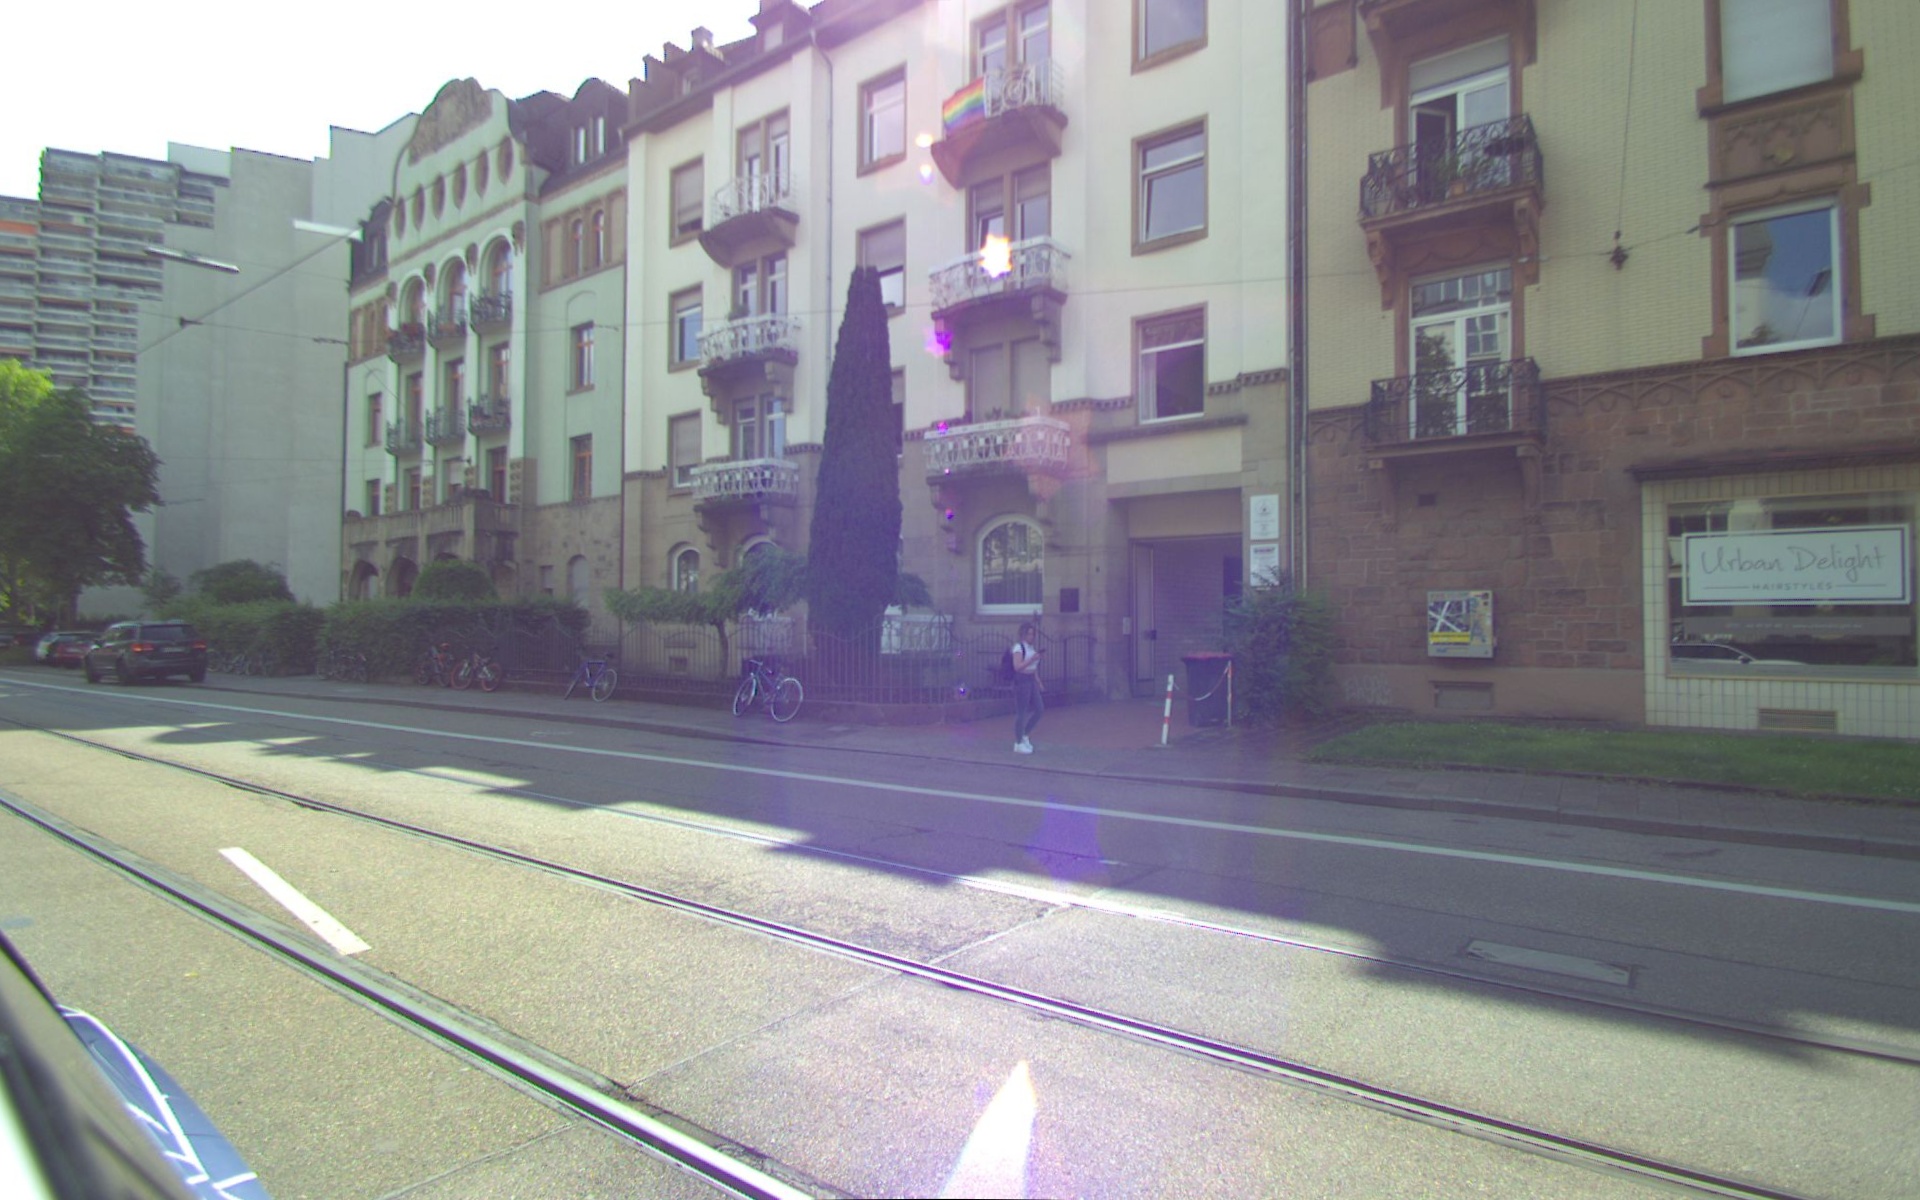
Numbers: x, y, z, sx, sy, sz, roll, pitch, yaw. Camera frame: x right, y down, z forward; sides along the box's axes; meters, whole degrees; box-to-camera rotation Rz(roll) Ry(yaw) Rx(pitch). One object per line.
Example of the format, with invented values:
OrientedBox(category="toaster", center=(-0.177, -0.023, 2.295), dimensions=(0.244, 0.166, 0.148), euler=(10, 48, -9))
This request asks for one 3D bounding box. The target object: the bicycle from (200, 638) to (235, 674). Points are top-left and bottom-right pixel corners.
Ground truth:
OrientedBox(category="bicycle", center=(-24.157, 1.818, 32.923), dimensions=(1.785, 1.144, 0.462), euler=(-2, -3, 40))

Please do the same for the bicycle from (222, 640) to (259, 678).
OrientedBox(category="bicycle", center=(-22.502, 1.822, 31.634), dimensions=(1.785, 1.144, 0.462), euler=(-2, -3, 40))

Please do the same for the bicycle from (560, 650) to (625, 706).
OrientedBox(category="bicycle", center=(-7.130, 1.487, 19.608), dimensions=(0.461, 1.003, 1.788), euler=(2, -3, -45))

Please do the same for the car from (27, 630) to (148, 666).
OrientedBox(category="car", center=(-38.667, 2.118, 44.922), dimensions=(3.938, 1.519, 2.002), euler=(2, -3, -42))

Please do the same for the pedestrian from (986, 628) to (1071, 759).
OrientedBox(category="pedestrian", center=(0.855, 1.130, 12.596), dimensions=(0.764, 1.553, 0.749), euler=(-2, -3, 39))

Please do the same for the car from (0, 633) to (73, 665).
OrientedBox(category="car", center=(-46.437, 2.391, 49.960), dimensions=(3.938, 1.519, 2.002), euler=(2, -3, -42))

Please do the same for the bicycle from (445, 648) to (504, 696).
OrientedBox(category="bicycle", center=(-10.718, 1.561, 22.302), dimensions=(1.785, 1.003, 0.462), euler=(-2, -3, 40))

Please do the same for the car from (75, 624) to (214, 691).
OrientedBox(category="car", center=(-22.711, 1.544, 28.155), dimensions=(4.392, 1.708, 1.899), euler=(-1, -2, 36))

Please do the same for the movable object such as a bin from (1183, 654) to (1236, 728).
OrientedBox(category="movable object such as a bin", center=(3.582, 1.297, 14.559), dimensions=(0.697, 1.037, 0.475), euler=(0, -2, 11))

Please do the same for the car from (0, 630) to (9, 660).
OrientedBox(category="car", center=(-56.904, 2.563, 57.636), dimensions=(3.938, 1.695, 2.002), euler=(2, -3, -42))

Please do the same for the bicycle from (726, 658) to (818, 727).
OrientedBox(category="bicycle", center=(-3.057, 1.455, 16.308), dimensions=(0.461, 1.003, 1.980), euler=(2, -3, -43))

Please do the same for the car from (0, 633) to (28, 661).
OrientedBox(category="car", center=(-54.003, 2.585, 55.691), dimensions=(3.938, 1.519, 2.002), euler=(2, -3, -42))

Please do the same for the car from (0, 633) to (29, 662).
OrientedBox(category="car", center=(-51.812, 2.510, 53.388), dimensions=(3.938, 1.519, 2.002), euler=(2, -3, -42))

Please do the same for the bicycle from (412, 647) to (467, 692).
OrientedBox(category="bicycle", center=(-12.135, 1.597, 23.565), dimensions=(1.785, 1.003, 0.462), euler=(-2, -3, 40))

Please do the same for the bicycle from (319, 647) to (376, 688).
OrientedBox(category="bicycle", center=(-15.609, 1.699, 25.775), dimensions=(1.979, 1.003, 0.597), euler=(-2, -3, 40))

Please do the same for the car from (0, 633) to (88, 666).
OrientedBox(category="car", center=(-43.980, 2.315, 47.984), dimensions=(3.938, 1.519, 2.002), euler=(2, -3, -42))

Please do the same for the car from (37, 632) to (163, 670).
OrientedBox(category="car", center=(-36.059, 2.123, 42.510), dimensions=(3.938, 1.519, 2.002), euler=(2, -3, -42))

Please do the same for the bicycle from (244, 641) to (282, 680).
OrientedBox(category="bicycle", center=(-20.976, 1.804, 30.434), dimensions=(1.785, 1.144, 0.462), euler=(-2, -3, 40))

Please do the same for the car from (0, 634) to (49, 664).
OrientedBox(category="car", center=(-49.120, 2.481, 51.608), dimensions=(3.938, 1.519, 2.002), euler=(2, -3, -42))

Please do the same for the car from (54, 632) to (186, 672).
OrientedBox(category="car", center=(-33.375, 2.041, 40.257), dimensions=(3.938, 1.519, 2.002), euler=(2, -3, -42))

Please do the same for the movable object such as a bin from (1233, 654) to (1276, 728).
OrientedBox(category="movable object such as a bin", center=(4.231, 1.294, 14.545), dimensions=(0.531, 1.037, 0.475), euler=(0, -2, 11))
